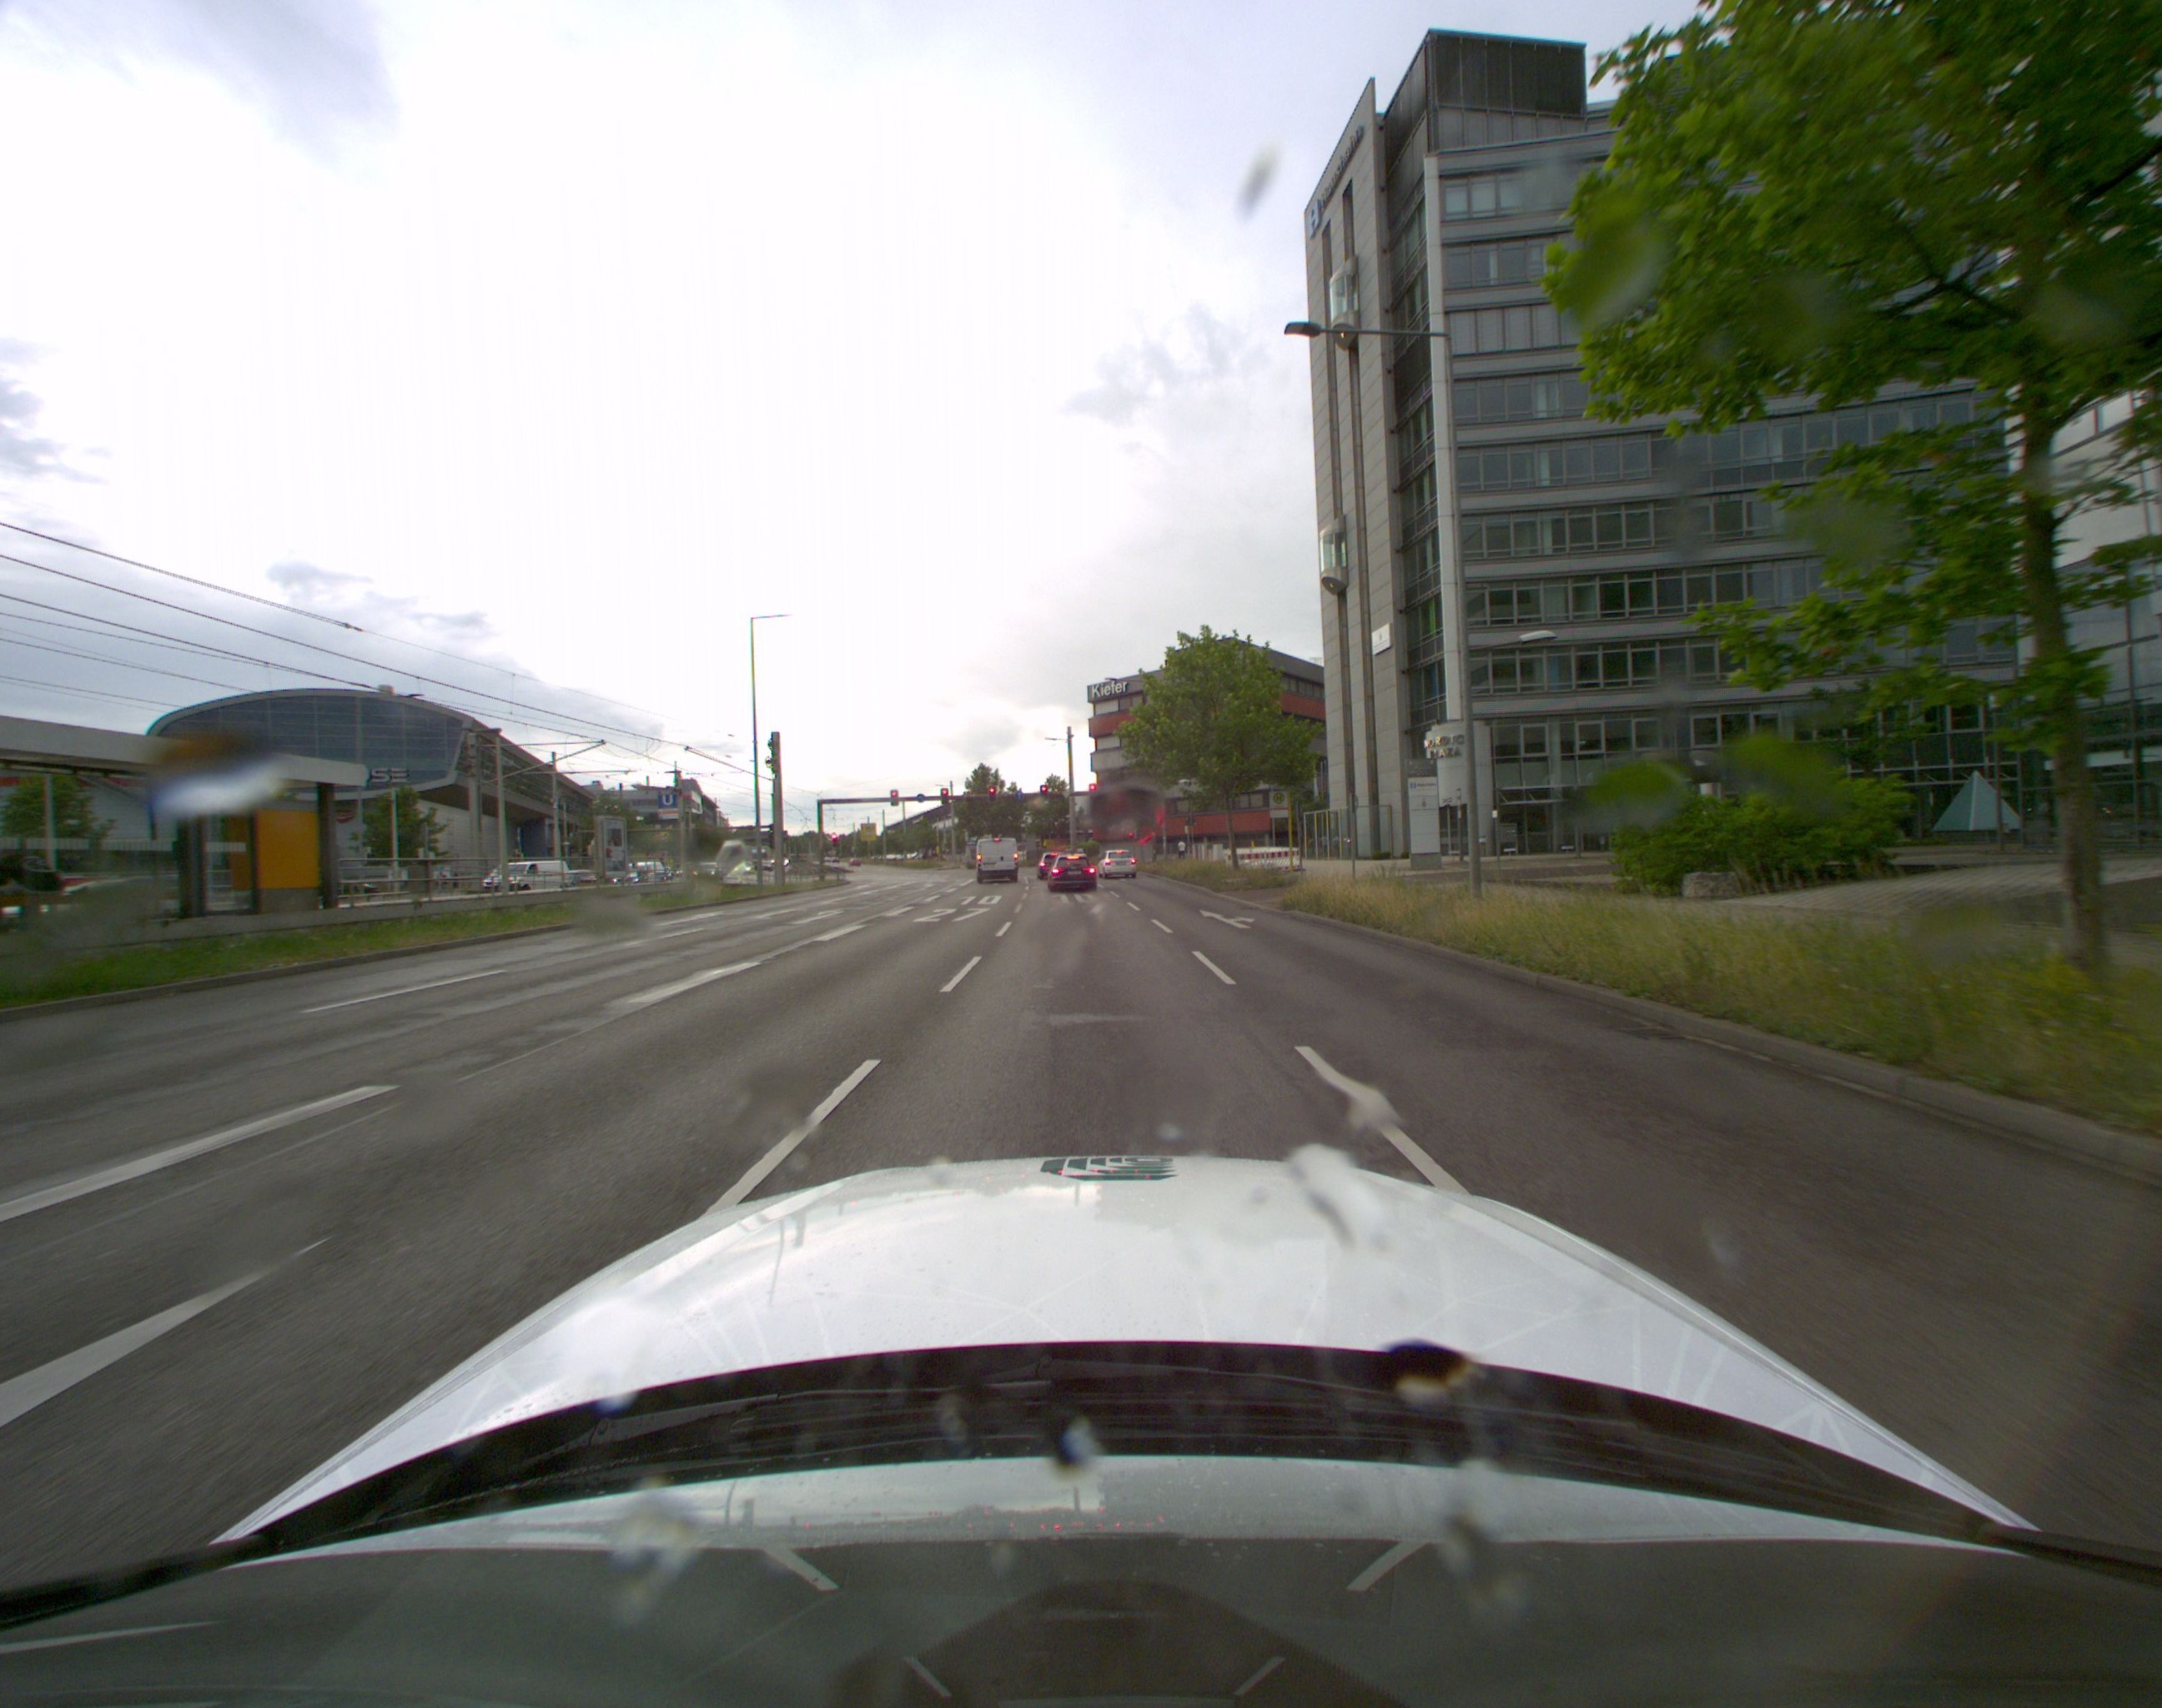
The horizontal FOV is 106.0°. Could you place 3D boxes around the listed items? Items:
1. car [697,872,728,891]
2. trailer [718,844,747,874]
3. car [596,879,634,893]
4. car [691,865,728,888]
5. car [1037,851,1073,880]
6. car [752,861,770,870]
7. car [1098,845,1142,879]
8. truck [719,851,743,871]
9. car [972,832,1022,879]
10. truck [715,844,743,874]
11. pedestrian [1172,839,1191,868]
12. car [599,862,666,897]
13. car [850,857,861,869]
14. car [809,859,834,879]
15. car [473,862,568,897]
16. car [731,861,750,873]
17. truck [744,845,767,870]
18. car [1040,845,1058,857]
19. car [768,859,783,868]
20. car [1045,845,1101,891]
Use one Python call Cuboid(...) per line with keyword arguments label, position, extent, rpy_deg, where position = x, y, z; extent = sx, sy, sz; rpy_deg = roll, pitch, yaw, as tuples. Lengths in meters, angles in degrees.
Cuboid(label="car", position=(-32.676, 2.401, 72.255), extent=(1.528, 1.666, 4.253), rpy_deg=(0, -1, -10))
Cuboid(label="trailer", position=(-50.803, 0.690, 118.921), extent=(2.803, 4.107, 11.370), rpy_deg=(-3, 1, -19))
Cuboid(label="car", position=(-39.809, 2.742, 69.682), extent=(1.526, 1.131, 3.921), rpy_deg=(0, -1, -10))
Cuboid(label="car", position=(-33.030, 1.960, 72.569), extent=(1.771, 2.014, 4.335), rpy_deg=(0, -1, -8))
Cuboid(label="car", position=(-1.431, 0.625, 45.237), extent=(1.889, 1.465, 3.906), rpy_deg=(-2, -1, -2))
Cuboid(label="car", position=(-48.113, 1.759, 122.360), extent=(1.910, 1.264, 4.394), rpy_deg=(0, -1, -13))
Cuboid(label="car", position=(1.993, 0.433, 43.104), extent=(1.826, 1.656, 3.993), rpy_deg=(-1, -1, -4))
Cuboid(label="truck", position=(-72.375, 1.440, 168.228), extent=(2.770, 3.805, 5.346), rpy_deg=(-3, 0, -42))
Cuboid(label="car", position=(-4.432, 0.120, 42.784), extent=(2.443, 2.294, 4.892), rpy_deg=(0, -1, -7))
Cuboid(label="truck", position=(-49.155, 0.698, 113.893), extent=(2.840, 3.996, 5.949), rpy_deg=(-2, 0, -18))
Cuboid(label="pedestrian", position=(7.609, -0.050, 61.718), extent=(1.141, 2.125, 1.221), rpy_deg=(-3, 1, -4))
Cuboid(label="car", position=(-30.383, 1.701, 55.400), extent=(1.990, 2.214, 5.136), rpy_deg=(0, -1, -4))
Cuboid(label="car", position=(-40.987, 1.665, 147.815), extent=(1.777, 2.014, 4.320), rpy_deg=(0, -1, -18))
Cuboid(label="car", position=(-27.897, 1.622, 87.684), extent=(1.771, 2.013, 4.338), rpy_deg=(0, 0, -6))
Cuboid(label="car", position=(-29.629, 1.308, 43.270), extent=(1.991, 1.731, 5.019), rpy_deg=(0, -1, -6))
Cuboid(label="car", position=(-43.352, 1.693, 103.743), extent=(1.742, 1.462, 4.129), rpy_deg=(0, -1, -16))
Cuboid(label="truck", position=(-55.878, 0.619, 139.927), extent=(2.669, 4.130, 6.157), rpy_deg=(-2, -1, -13))
Cuboid(label="car", position=(-5.591, -0.487, 143.150), extent=(1.879, 2.014, 3.744), rpy_deg=(0, -1, -24))
Cuboid(label="car", position=(-52.817, 1.660, 140.894), extent=(1.890, 1.652, 4.075), rpy_deg=(0, -1, -14))
Cuboid(label="car", position=(-0.385, 0.538, 32.027), extent=(1.989, 1.637, 3.995), rpy_deg=(-2, -1, -3))
